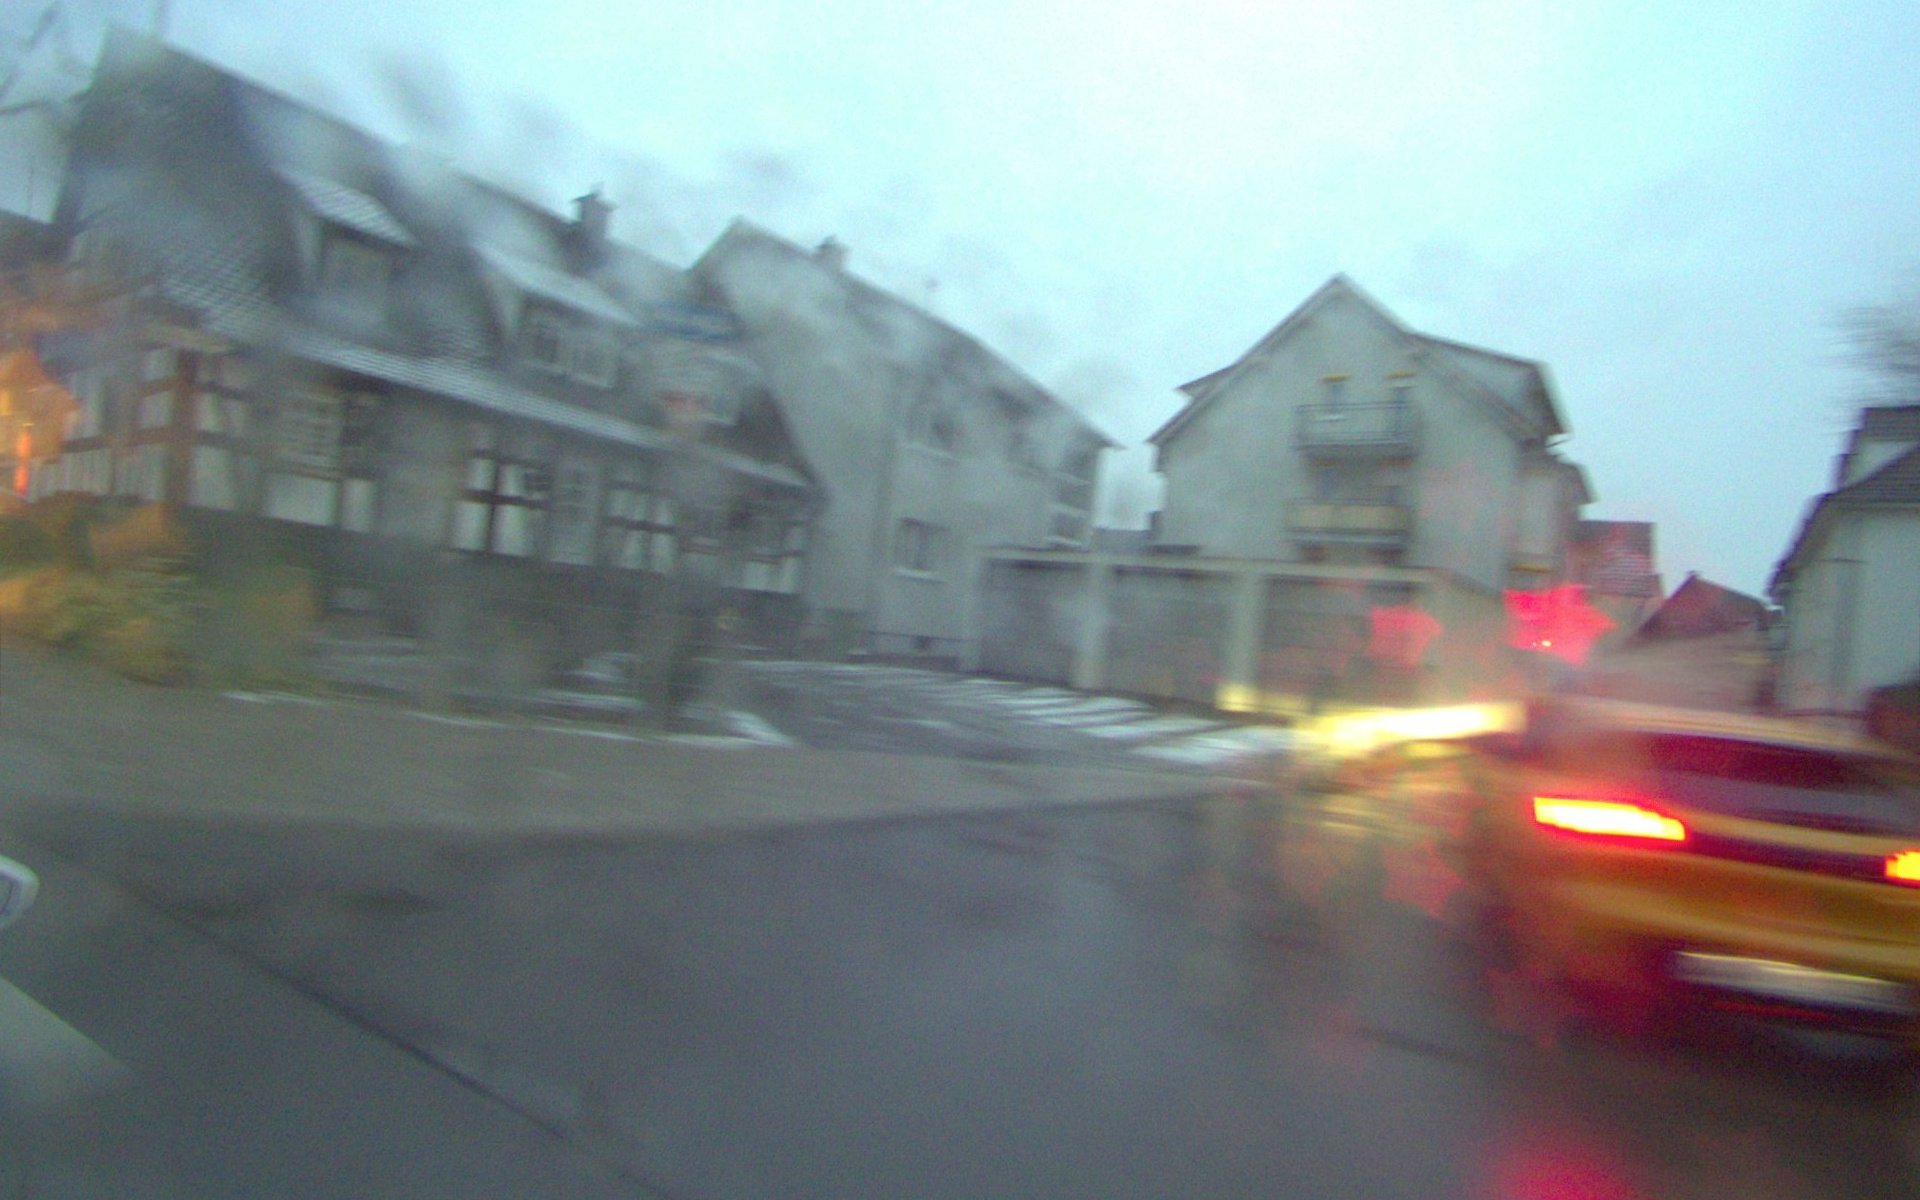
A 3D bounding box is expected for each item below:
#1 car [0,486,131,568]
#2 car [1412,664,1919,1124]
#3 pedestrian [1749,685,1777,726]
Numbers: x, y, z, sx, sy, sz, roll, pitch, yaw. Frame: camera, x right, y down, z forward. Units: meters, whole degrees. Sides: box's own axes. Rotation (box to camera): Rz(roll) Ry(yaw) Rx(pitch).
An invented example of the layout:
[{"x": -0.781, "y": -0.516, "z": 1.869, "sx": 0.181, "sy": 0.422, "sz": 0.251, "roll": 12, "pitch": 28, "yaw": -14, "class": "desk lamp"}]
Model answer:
[{"x": -19.080, "y": -1.534, "z": 20.256, "sx": 1.658, "sy": 1.460, "sz": 3.291, "roll": 6, "pitch": 2, "yaw": 31, "class": "car"}, {"x": 3.809, "y": 1.251, "z": 5.659, "sx": 1.743, "sy": 1.465, "sz": 3.727, "roll": 7, "pitch": 0, "yaw": 18, "class": "car"}, {"x": 35.075, "y": 4.611, "z": 43.961, "sx": 0.766, "sy": 1.683, "sz": 0.647, "roll": 7, "pitch": 2, "yaw": 41, "class": "pedestrian"}]
